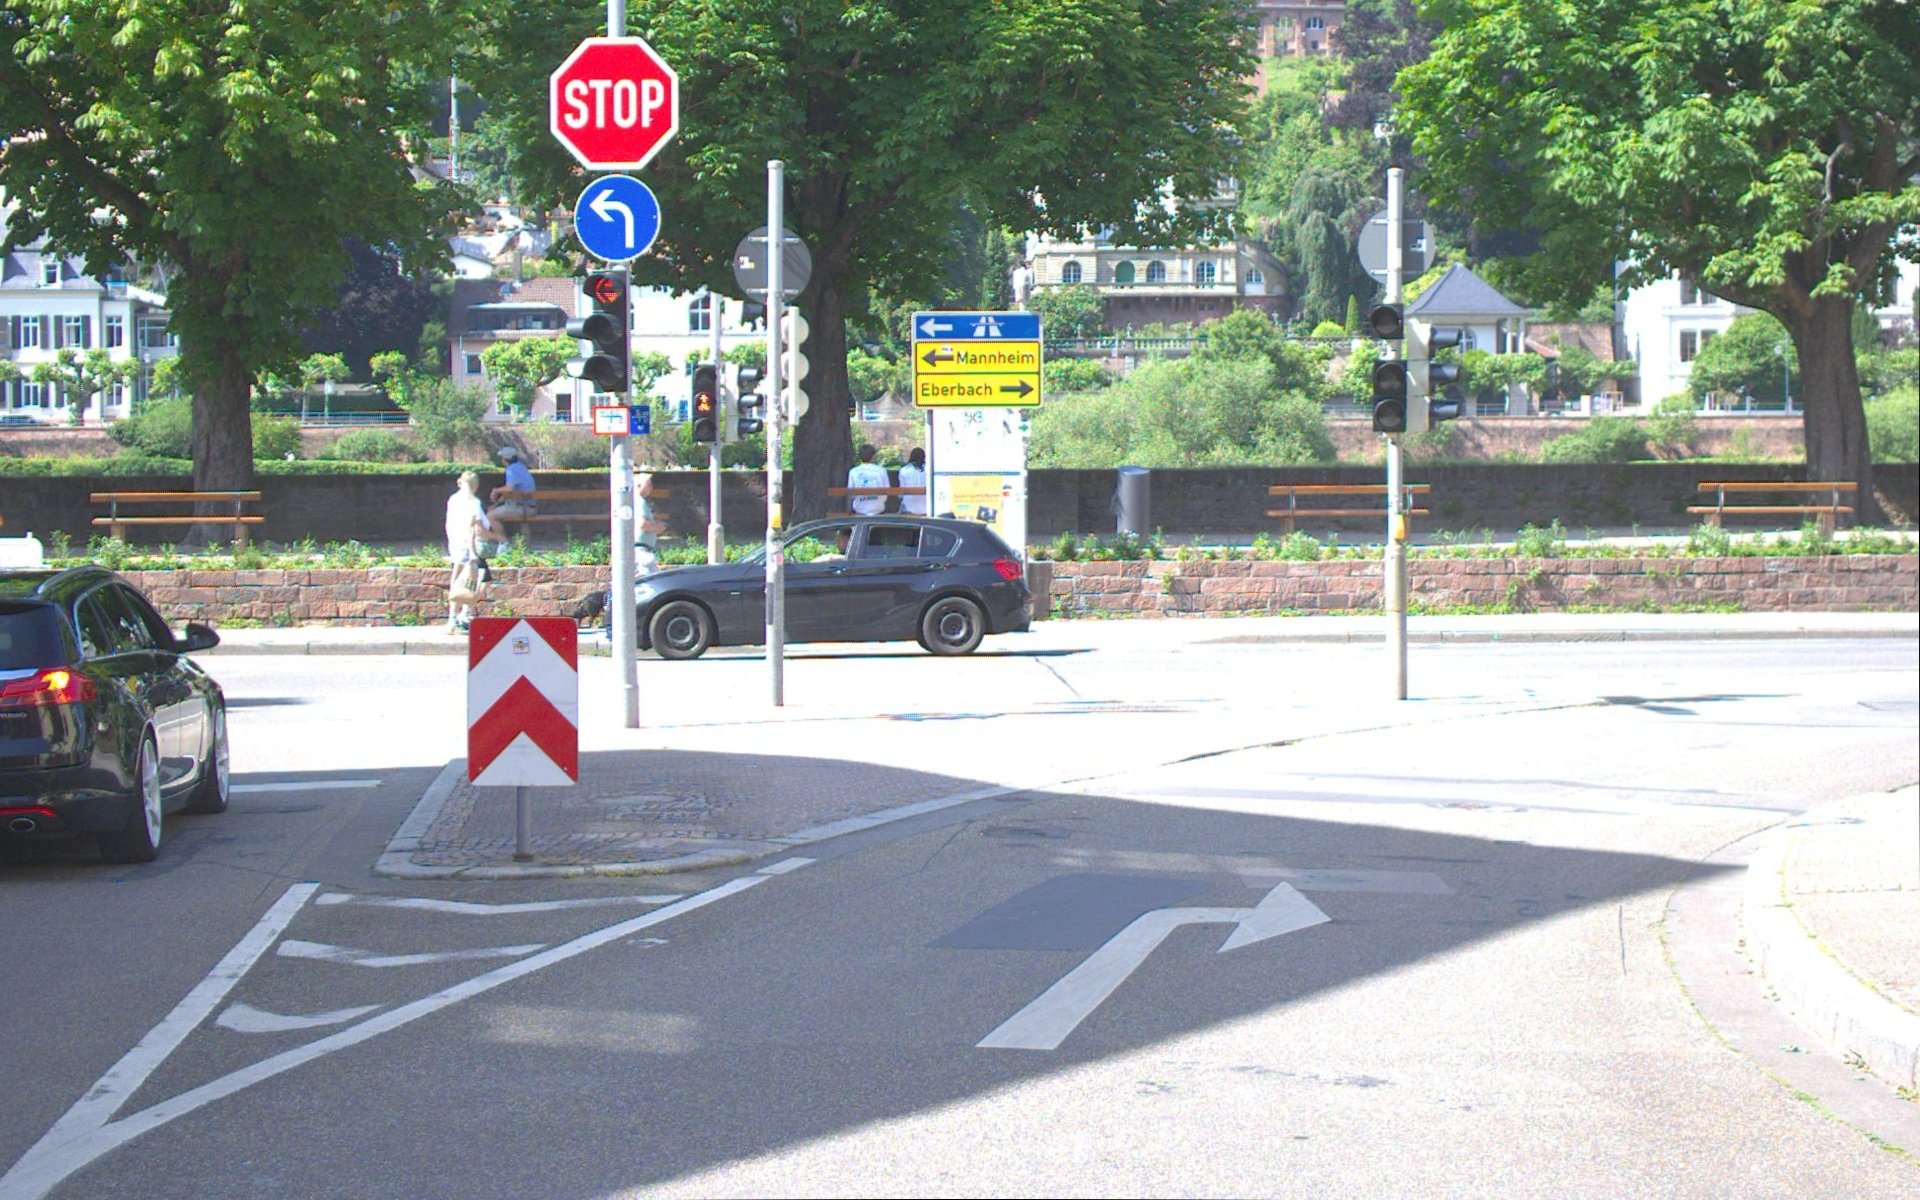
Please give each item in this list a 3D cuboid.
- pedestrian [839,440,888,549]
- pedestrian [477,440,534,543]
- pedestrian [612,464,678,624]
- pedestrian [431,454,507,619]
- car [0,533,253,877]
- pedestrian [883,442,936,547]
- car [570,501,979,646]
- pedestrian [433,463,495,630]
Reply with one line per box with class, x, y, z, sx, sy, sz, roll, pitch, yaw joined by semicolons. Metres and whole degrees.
pedestrian;-1.183;-1.286;41.996;0.553;1.275;0.704;2;-1;-2
pedestrian;-5.465;-1.302;41.313;0.641;1.224;0.414;0;2;-14
pedestrian;-3.536;-0.625;38.615;0.688;1.763;0.717;-1;1;-4
pedestrian;-5.455;-0.704;38.236;0.722;1.795;0.634;-1;1;-1
car;-4.810;0.447;17.636;1.714;1.457;4.726;-2;2;-5
pedestrian;-0.620;-1.291;42.213;0.553;1.224;0.986;2;-1;-4
car;-1.860;-0.284;34.482;3.986;1.413;1.875;0;2;-4
pedestrian;-5.375;-0.581;37.297;0.578;1.795;0.705;0;1;-2
